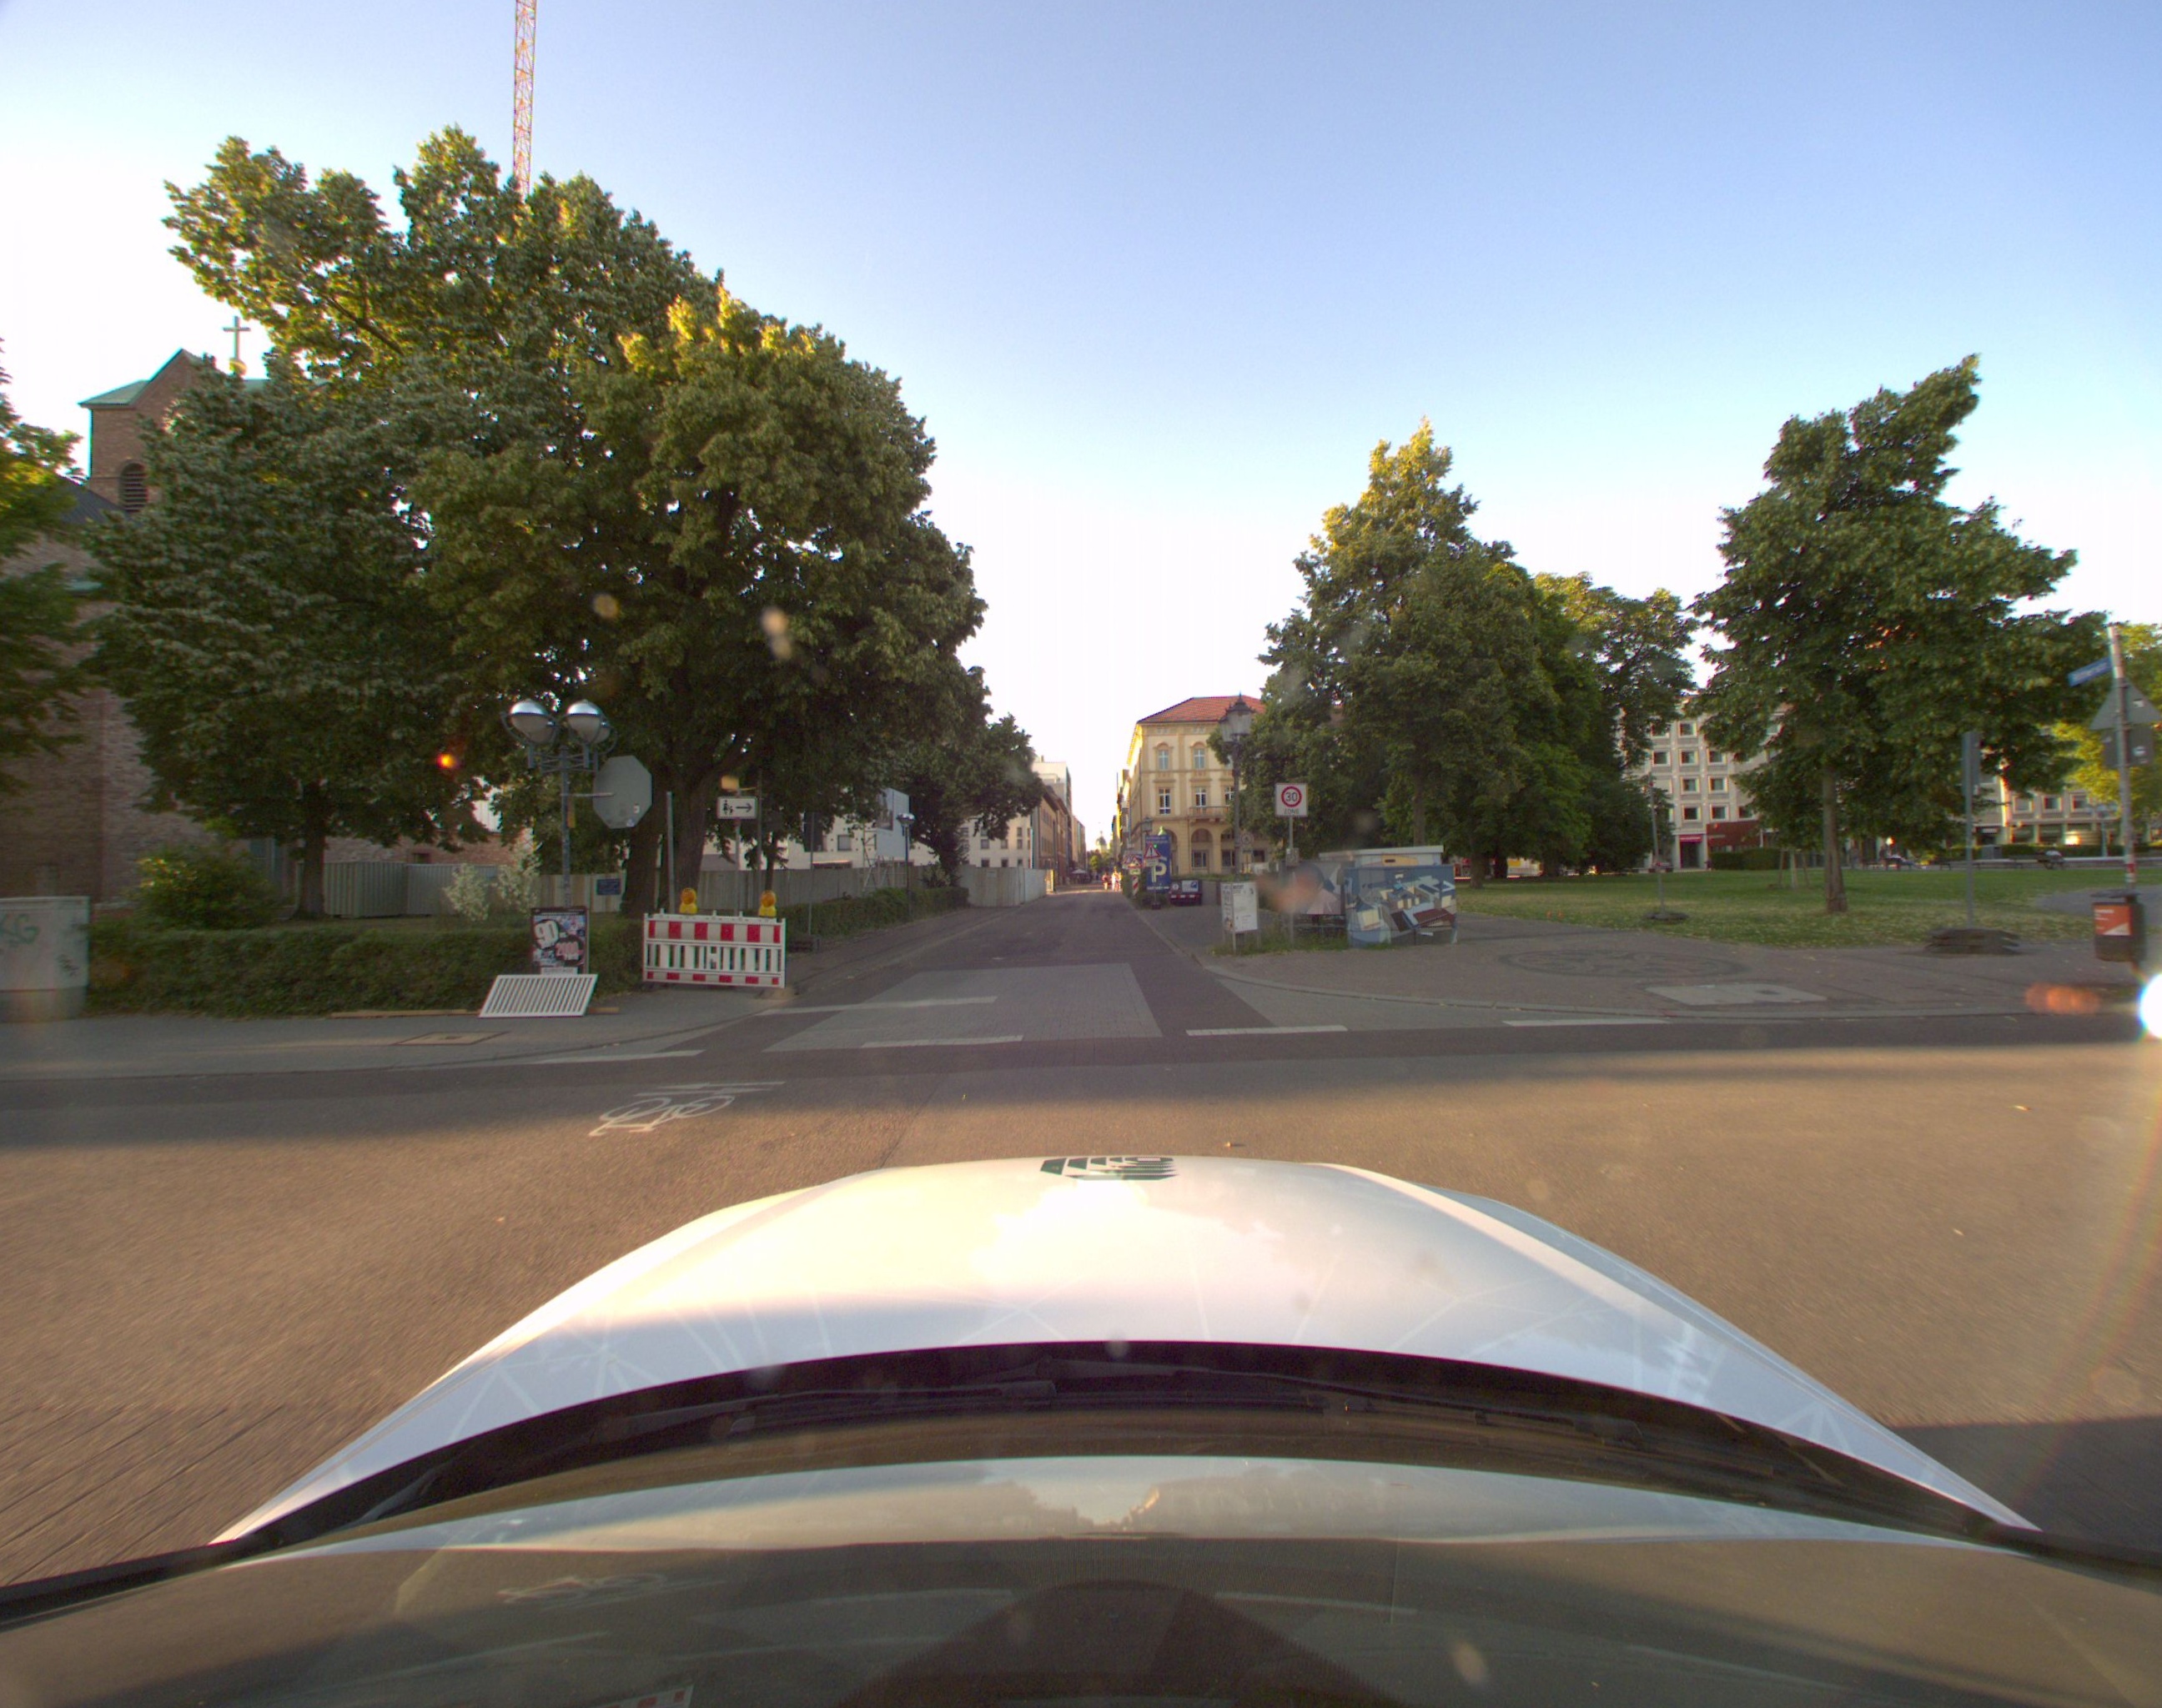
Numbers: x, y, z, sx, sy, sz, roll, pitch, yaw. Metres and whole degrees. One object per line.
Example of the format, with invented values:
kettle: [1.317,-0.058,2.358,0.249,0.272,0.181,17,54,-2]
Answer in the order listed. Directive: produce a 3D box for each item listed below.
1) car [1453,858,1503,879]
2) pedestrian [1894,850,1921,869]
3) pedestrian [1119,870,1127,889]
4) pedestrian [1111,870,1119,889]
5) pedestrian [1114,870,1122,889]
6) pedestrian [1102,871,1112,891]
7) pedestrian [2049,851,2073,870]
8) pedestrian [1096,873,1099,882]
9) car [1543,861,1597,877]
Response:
car: [40.021,1.459,82.121,4.015,2.014,2.001,-2,-2,2]
pedestrian: [50.162,0.329,49.430,0.889,1.077,0.624,-3,-2,18]
pedestrian: [3.686,2.247,71.250,0.655,1.617,0.745,-2,-2,2]
pedestrian: [2.991,2.252,71.222,0.655,1.617,0.745,-2,-2,2]
pedestrian: [3.309,2.286,72.297,0.655,1.636,0.745,-2,-2,2]
pedestrian: [2.306,2.369,72.365,0.653,1.760,0.747,-2,-2,11]
pedestrian: [50.428,0.327,41.904,0.512,0.925,0.616,-1,-2,-24]
pedestrian: [3.667,5.265,181.048,0.756,1.834,0.745,-2,-2,1]
car: [42.269,1.287,70.440,3.568,1.240,1.996,-2,-1,-6]
